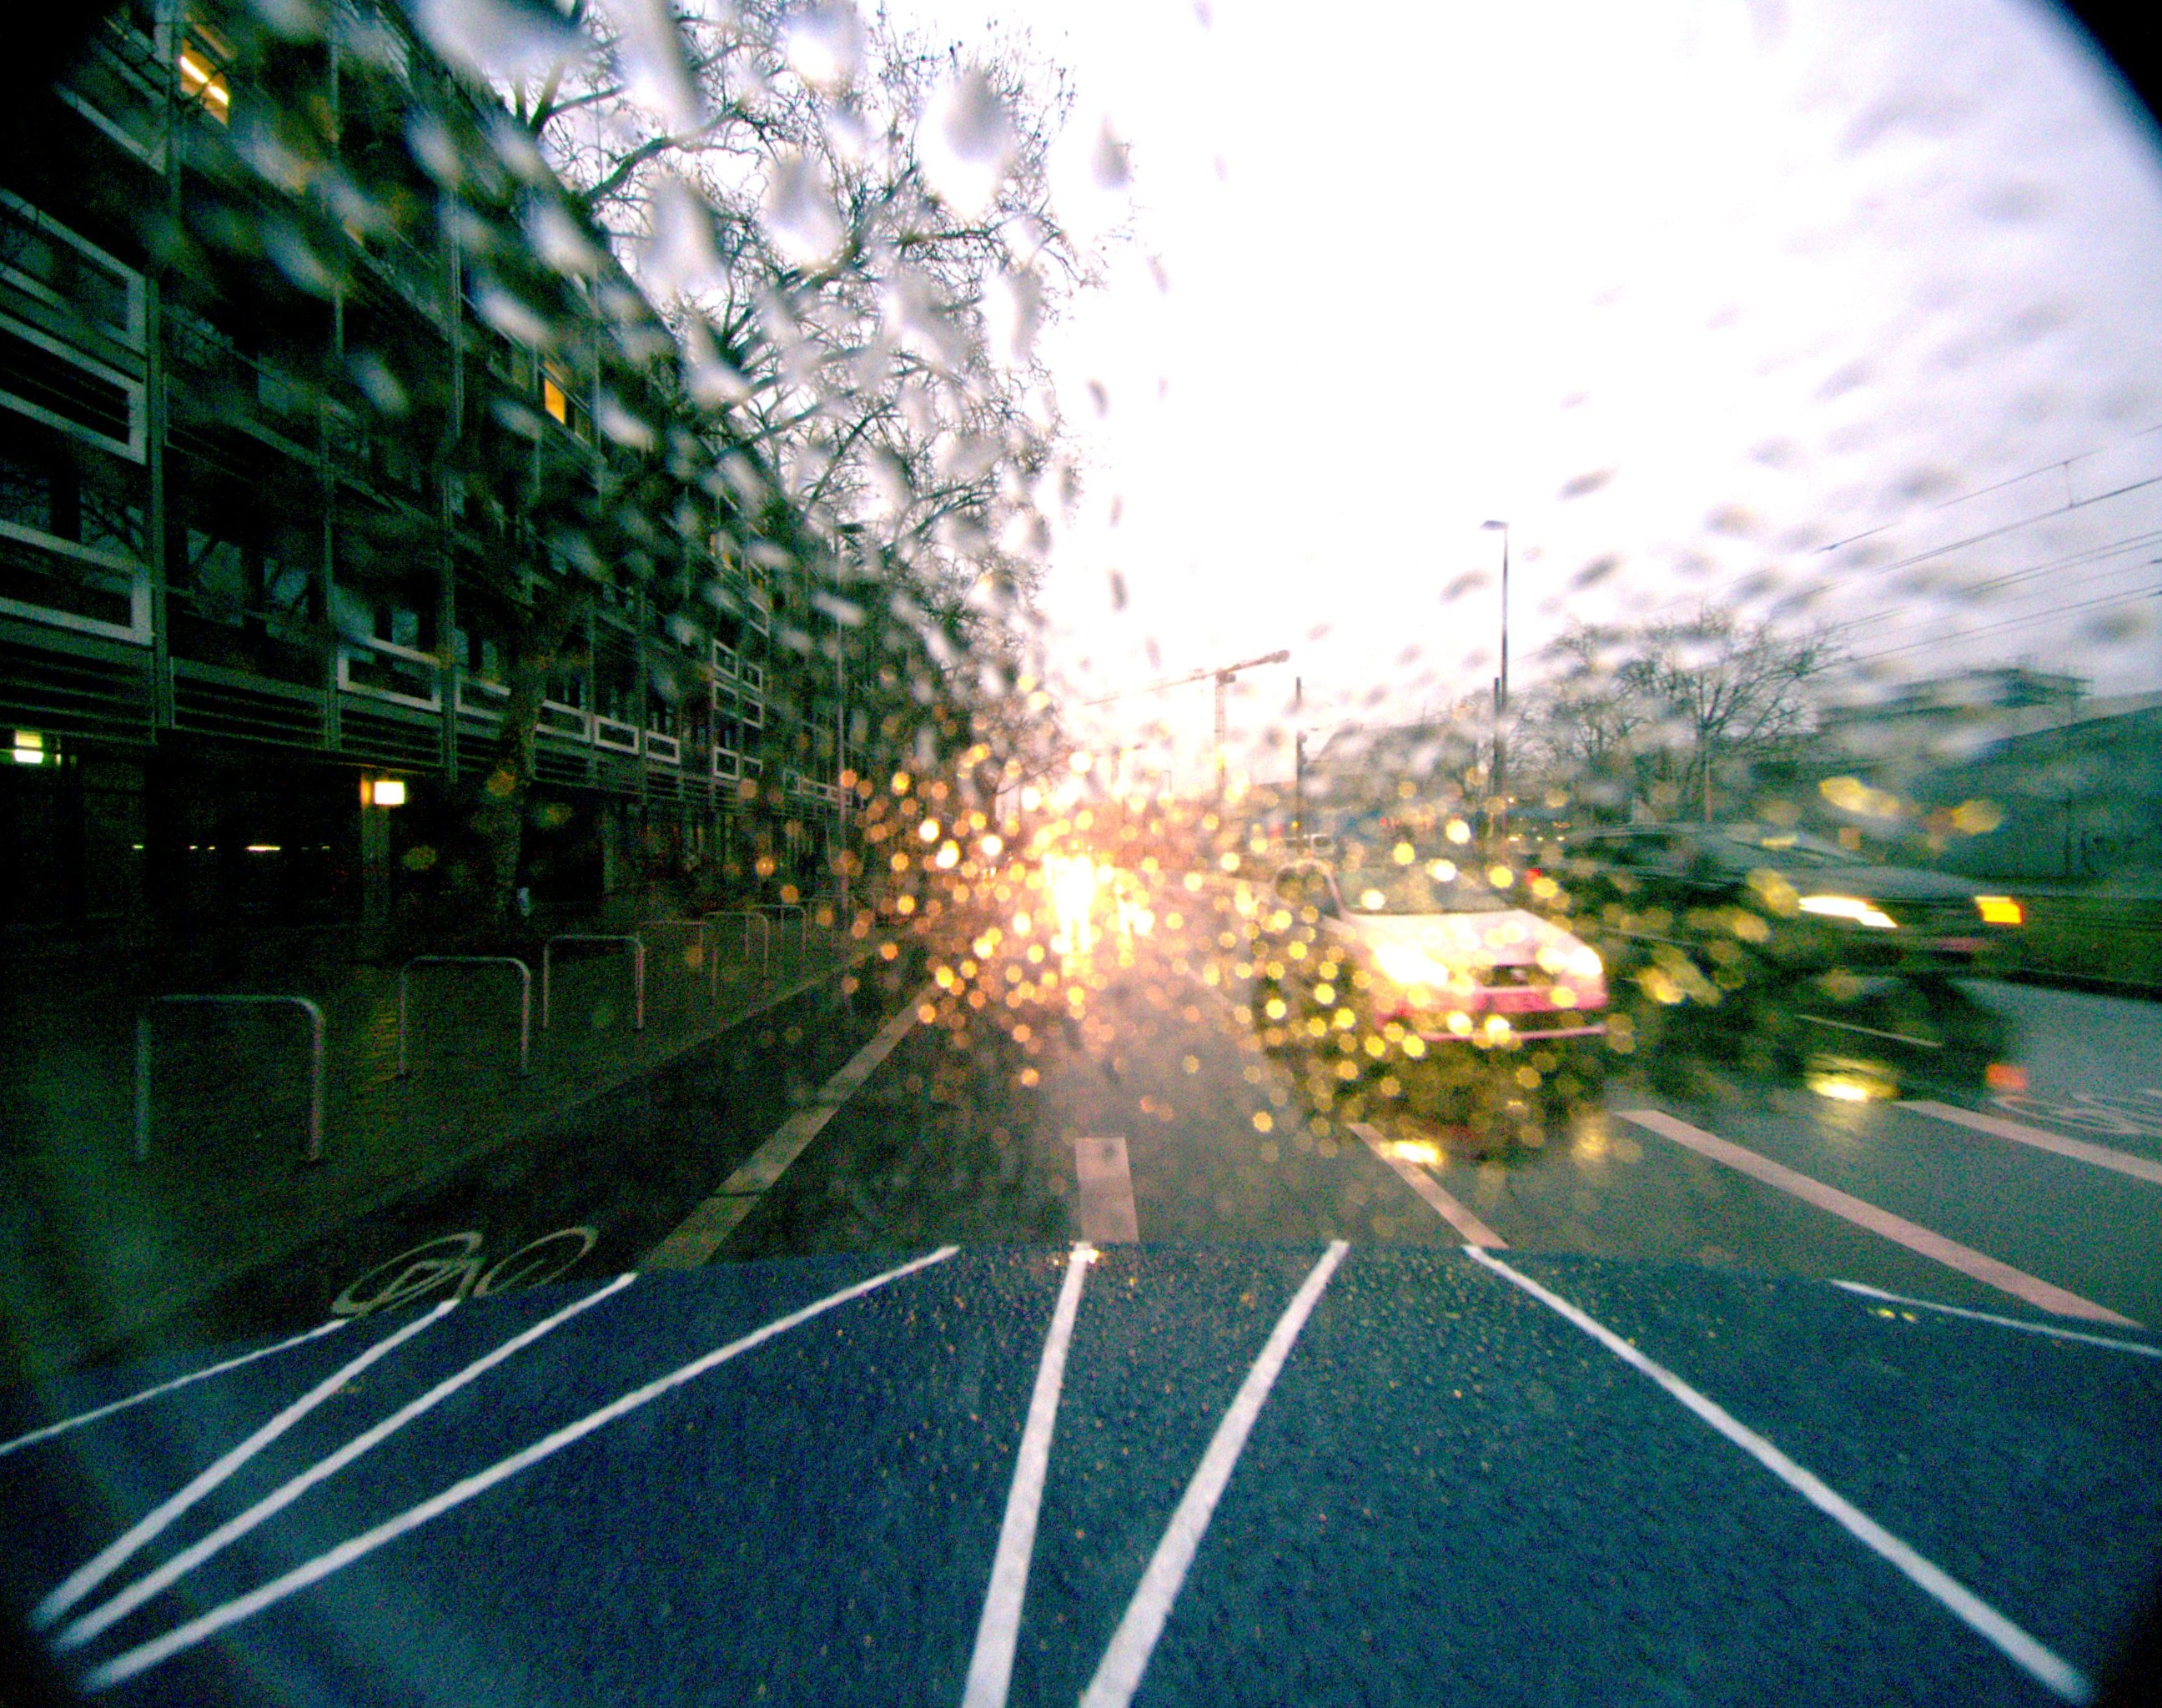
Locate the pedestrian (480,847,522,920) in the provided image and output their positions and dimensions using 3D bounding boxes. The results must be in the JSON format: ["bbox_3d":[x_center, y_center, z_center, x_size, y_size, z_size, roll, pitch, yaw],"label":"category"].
[{"bbox_3d":[-13.426,0.677,17.598,0.379,1.658,0.713,0,1,1],"label":"pedestrian"}]

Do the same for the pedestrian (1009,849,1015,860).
[{"bbox_3d":[-12.598,0.078,138.705,0.838,2.002,0.771,-2,2,0],"label":"pedestrian"}]

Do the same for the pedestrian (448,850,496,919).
[{"bbox_3d":[-13.986,0.684,17.462,0.484,1.555,0.745,0,1,-1],"label":"pedestrian"}]

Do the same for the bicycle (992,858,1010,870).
[{"bbox_3d":[-7.143,0.894,67.837,1.523,1.030,0.469,-2,2,-7],"label":"bicycle"}]

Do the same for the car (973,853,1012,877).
[{"bbox_3d":[-5.830,0.724,50.451,1.998,1.477,4.000,0,1,1],"label":"car"}]

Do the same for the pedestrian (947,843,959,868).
[{"bbox_3d":[-10.510,0.140,62.503,0.791,2.002,1.024,0,1,0],"label":"pedestrian"}]

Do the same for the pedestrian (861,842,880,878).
[{"bbox_3d":[-12.002,0.328,43.326,0.822,2.002,0.735,0,1,-2],"label":"pedestrian"}]

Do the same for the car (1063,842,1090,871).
[{"bbox_3d":[-0.278,0.179,54.791,1.858,2.002,4.000,-1,0,1],"label":"car"}]

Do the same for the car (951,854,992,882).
[{"bbox_3d":[-6.133,0.775,42.912,1.608,1.424,3.930,2,1,2],"label":"car"}]

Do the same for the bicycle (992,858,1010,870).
[{"bbox_3d":[-7.214,0.906,68.491,1.523,1.030,0.469,-2,2,-7],"label":"bicycle"}]

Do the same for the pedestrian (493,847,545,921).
[{"bbox_3d":[-12.915,0.661,17.492,0.501,1.658,0.873,0,1,1],"label":"pedestrian"}]

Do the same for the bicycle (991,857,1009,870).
[{"bbox_3d":[-7.070,0.848,66.390,1.523,1.030,0.469,-2,2,-7],"label":"bicycle"}]

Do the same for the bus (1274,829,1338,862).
[{"bbox_3d":[26.196,-0.980,89.424,2.815,3.557,12.298,-1,0,-6],"label":"bus"}]

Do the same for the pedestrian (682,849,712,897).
[{"bbox_3d":[-13.374,0.642,26.462,0.617,1.647,0.780,0,1,1],"label":"pedestrian"}]

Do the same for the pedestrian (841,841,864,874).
[{"bbox_3d":[-10.919,0.159,36.298,0.866,1.515,0.837,0,1,-2],"label":"pedestrian"}]

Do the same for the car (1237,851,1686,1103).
[{"bbox_3d":[2.794,0.748,6.766,1.778,1.466,4.128,-2,1,-2],"label":"car"}]

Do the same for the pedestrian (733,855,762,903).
[{"bbox_3d":[-10.911,0.800,24.873,0.649,1.535,0.615,0,1,1],"label":"pedestrian"}]

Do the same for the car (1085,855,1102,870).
[{"bbox_3d":[1.417,0.969,85.855,1.858,1.591,4.001,-1,-1,1],"label":"car"}]

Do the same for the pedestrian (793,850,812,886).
[{"bbox_3d":[-12.919,0.620,35.245,0.642,1.645,0.841,-1,1,-30],"label":"pedestrian"}]

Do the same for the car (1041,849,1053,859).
[{"bbox_3d":[-7.541,0.036,168.278,2.000,2.002,3.996,-2,1,-9],"label":"car"}]

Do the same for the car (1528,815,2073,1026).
[{"bbox_3d":[7.329,0.529,8.607,1.707,1.733,4.611,-1,1,-2],"label":"car"}]

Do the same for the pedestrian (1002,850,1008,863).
[{"bbox_3d":[-11.691,0.415,117.366,0.838,2.002,0.771,-2,2,0],"label":"pedestrian"}]

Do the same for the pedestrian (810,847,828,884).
[{"bbox_3d":[-12.275,0.527,35.575,0.661,1.708,0.841,-1,1,-29],"label":"pedestrian"}]

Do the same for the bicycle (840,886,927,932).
[{"bbox_3d":[-4.439,1.243,17.142,1.792,0.968,0.617,1,1,-4],"label":"bicycle"}]
